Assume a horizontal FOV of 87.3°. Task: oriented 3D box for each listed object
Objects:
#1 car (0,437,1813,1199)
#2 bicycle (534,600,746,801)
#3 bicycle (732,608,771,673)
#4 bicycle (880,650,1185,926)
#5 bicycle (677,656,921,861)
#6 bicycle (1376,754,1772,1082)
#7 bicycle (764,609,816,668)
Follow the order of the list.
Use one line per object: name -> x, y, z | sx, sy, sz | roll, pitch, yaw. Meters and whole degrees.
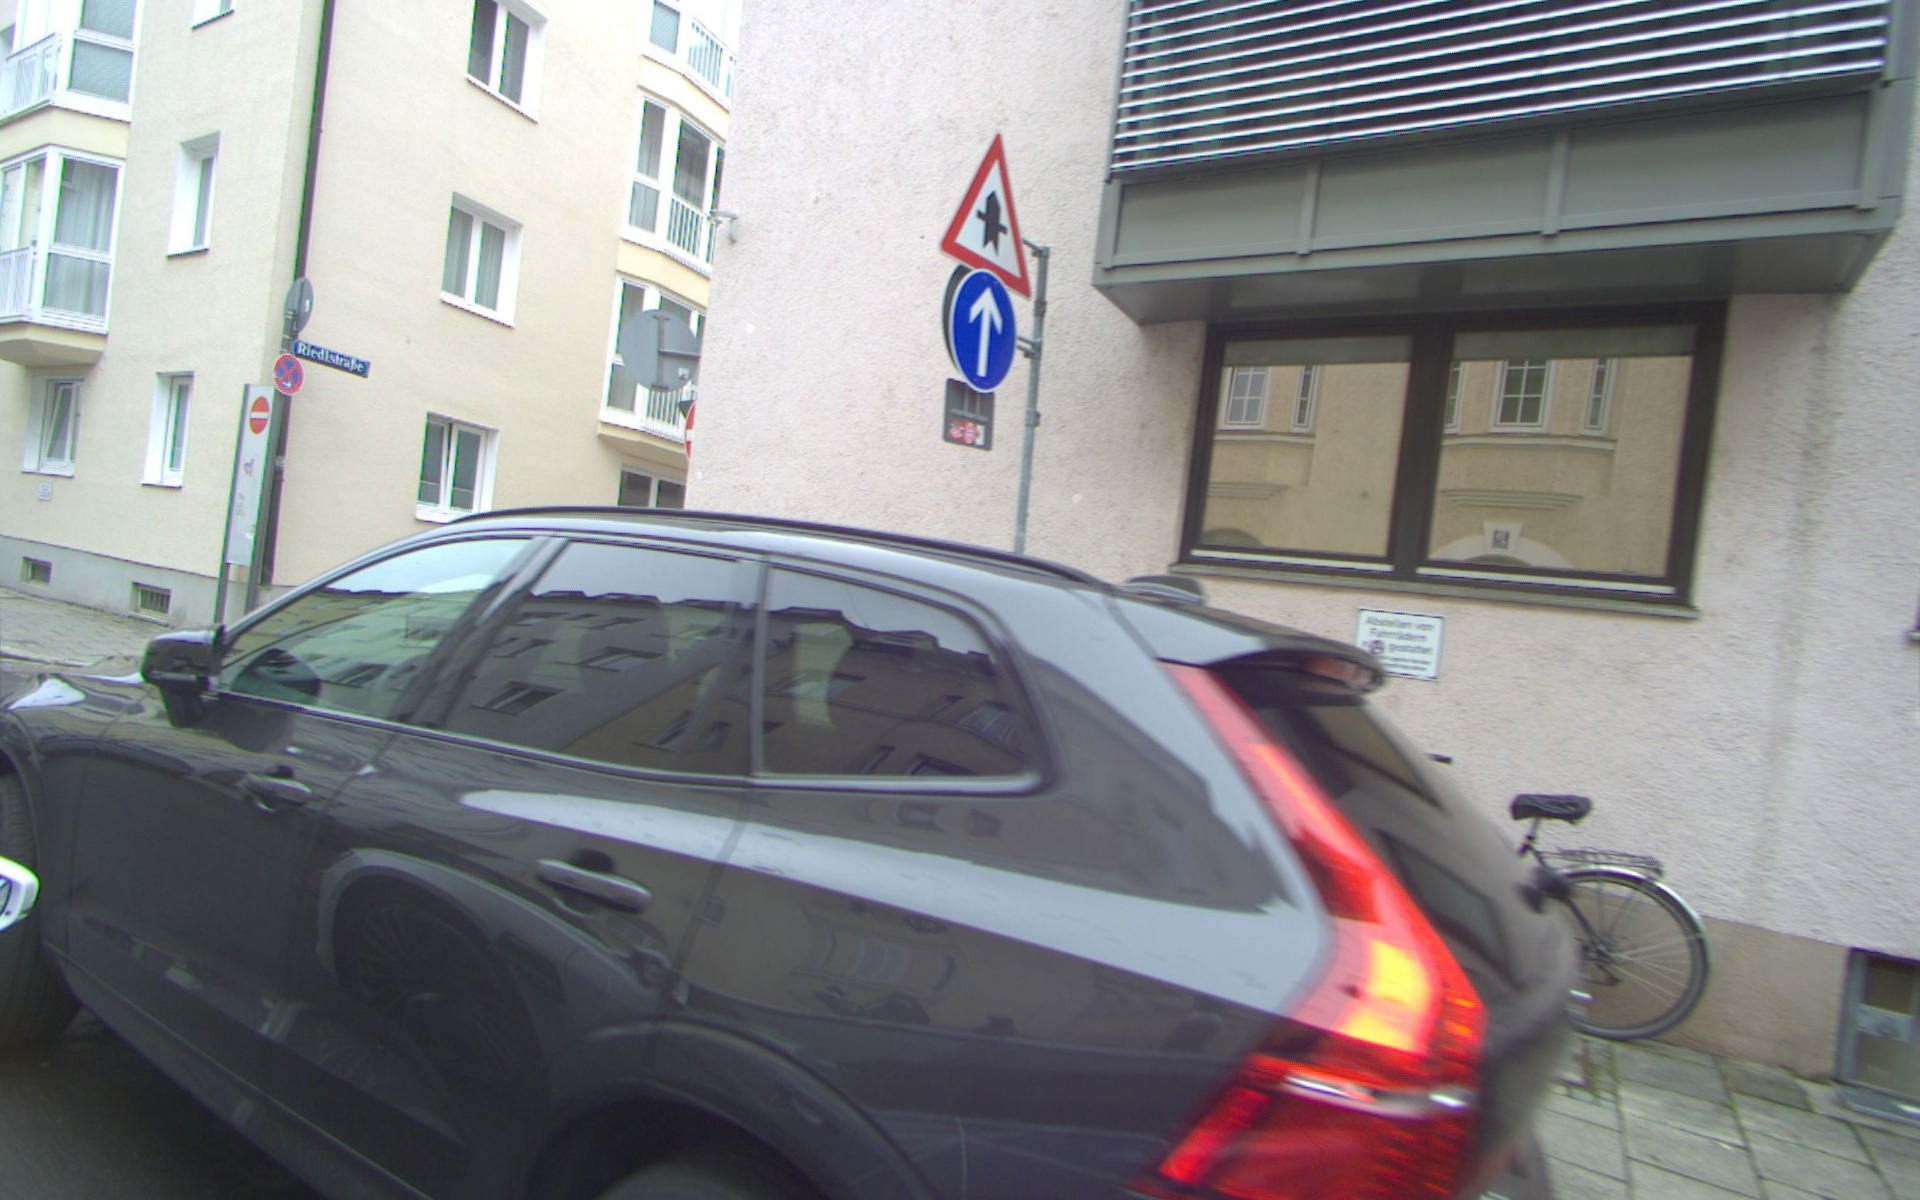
car -> -0.821, 0.603, 2.683 | 4.338, 1.640, 1.836 | 6, -2, 31
bicycle -> -2.217, 0.652, 6.919 | 1.335, 1.140, 0.551 | 7, 0, 32
bicycle -> -3.892, 0.738, 18.841 | 0.448, 1.100, 1.721 | 7, 0, -7
bicycle -> 0.346, 0.935, 5.376 | 1.517, 1.136, 0.357 | 7, 1, 32
bicycle -> -0.992, 0.910, 6.103 | 1.335, 0.959, 0.551 | 7, 0, 32
bicycle -> 2.470, 1.235, 4.157 | 1.248, 0.959, 0.357 | 7, 1, 32
bicycle -> -3.393, 0.762, 20.199 | 0.447, 1.100, 1.724 | 7, 0, 7
